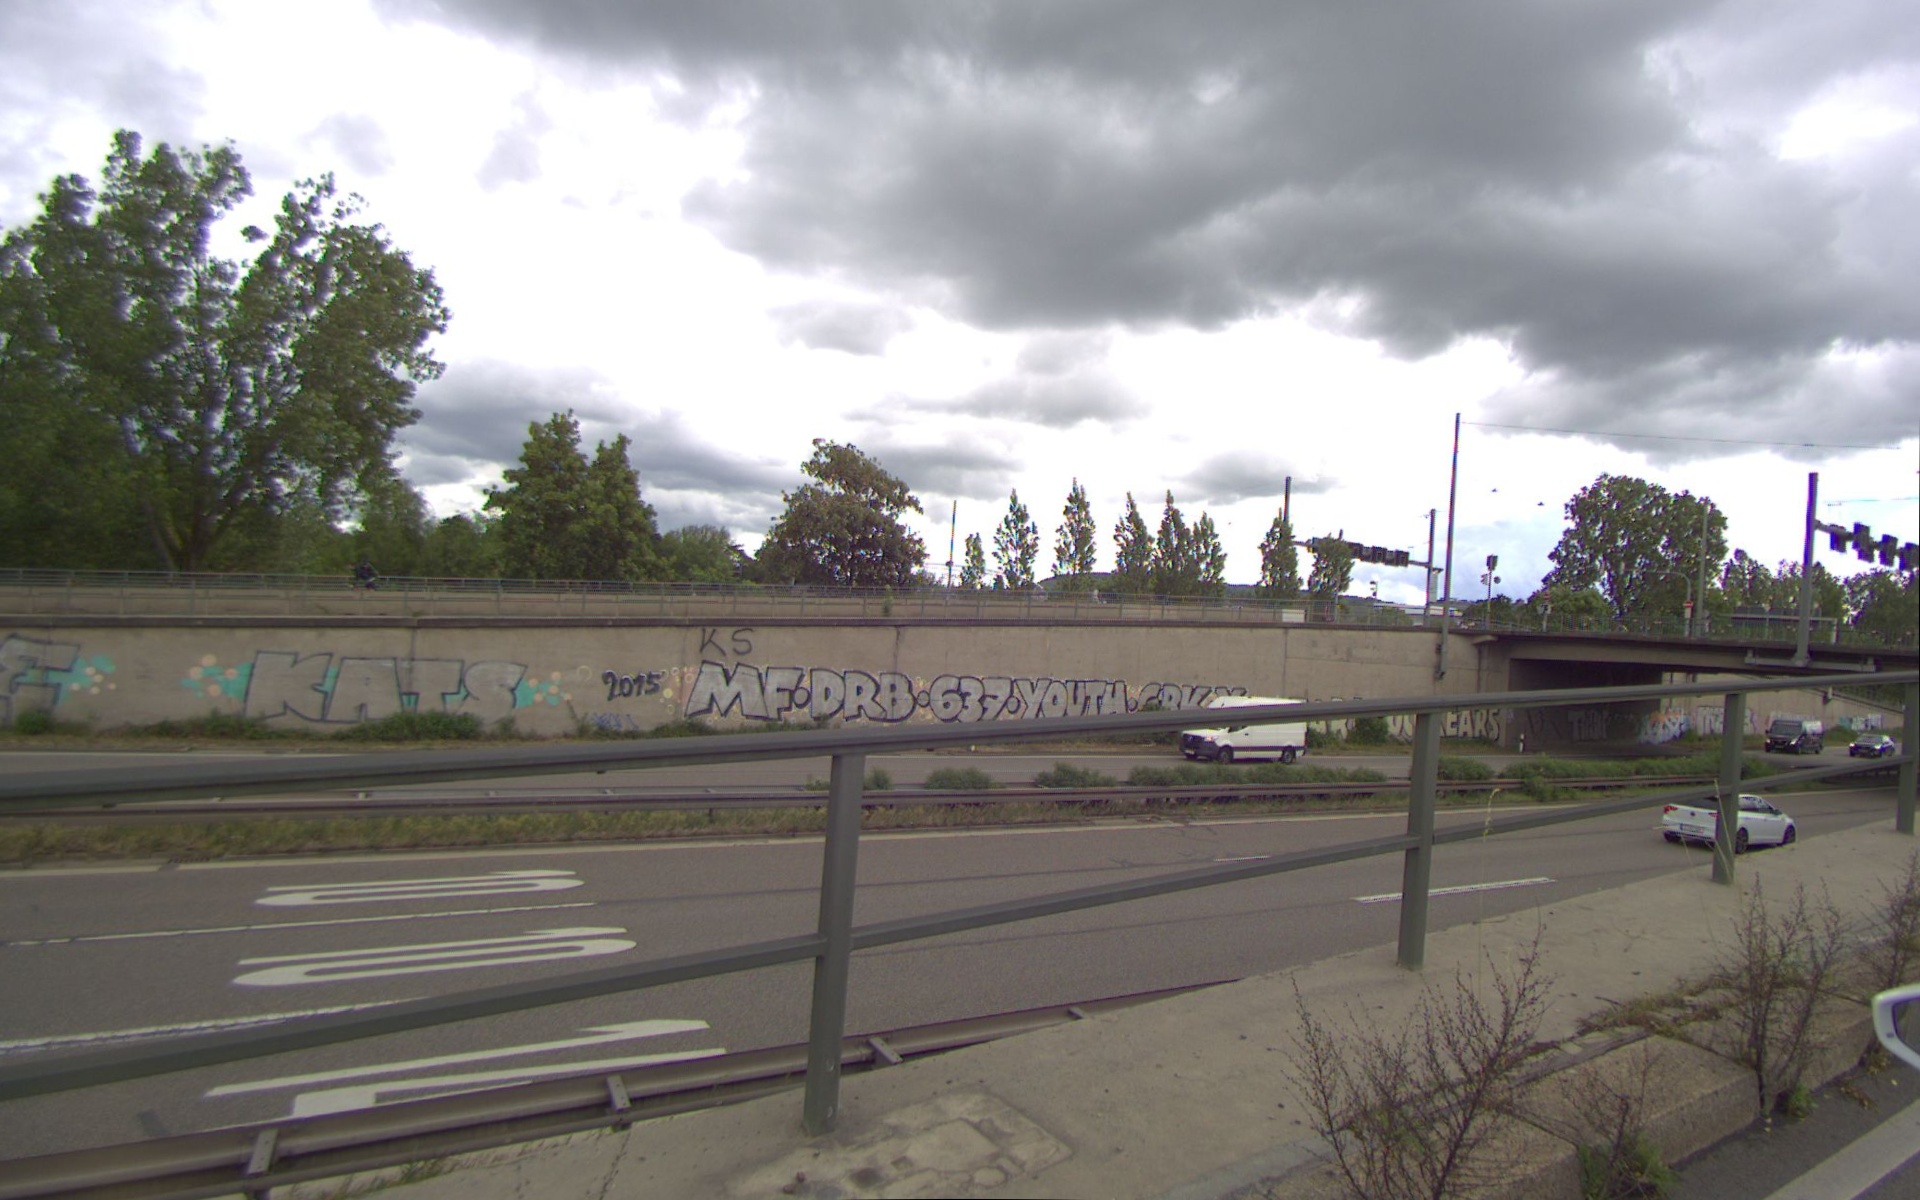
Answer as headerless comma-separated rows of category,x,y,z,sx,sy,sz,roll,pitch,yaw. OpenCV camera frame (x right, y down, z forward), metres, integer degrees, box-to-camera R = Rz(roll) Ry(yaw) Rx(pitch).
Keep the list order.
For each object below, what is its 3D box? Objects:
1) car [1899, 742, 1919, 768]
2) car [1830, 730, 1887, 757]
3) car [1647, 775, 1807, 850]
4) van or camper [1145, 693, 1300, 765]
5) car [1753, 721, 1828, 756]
car,67.911,10.946,70.428,3.957,1.683,1.983,6,-2,-31
car,65.843,10.538,73.607,3.957,1.683,1.983,6,-2,-31
car,20.302,5.556,26.576,3.950,1.519,1.847,4,-2,-27
van or camper,10.572,5.181,40.192,6.280,2.488,2.170,6,-2,-32
car,60.679,10.160,73.379,6.114,2.183,2.279,6,-3,-31
